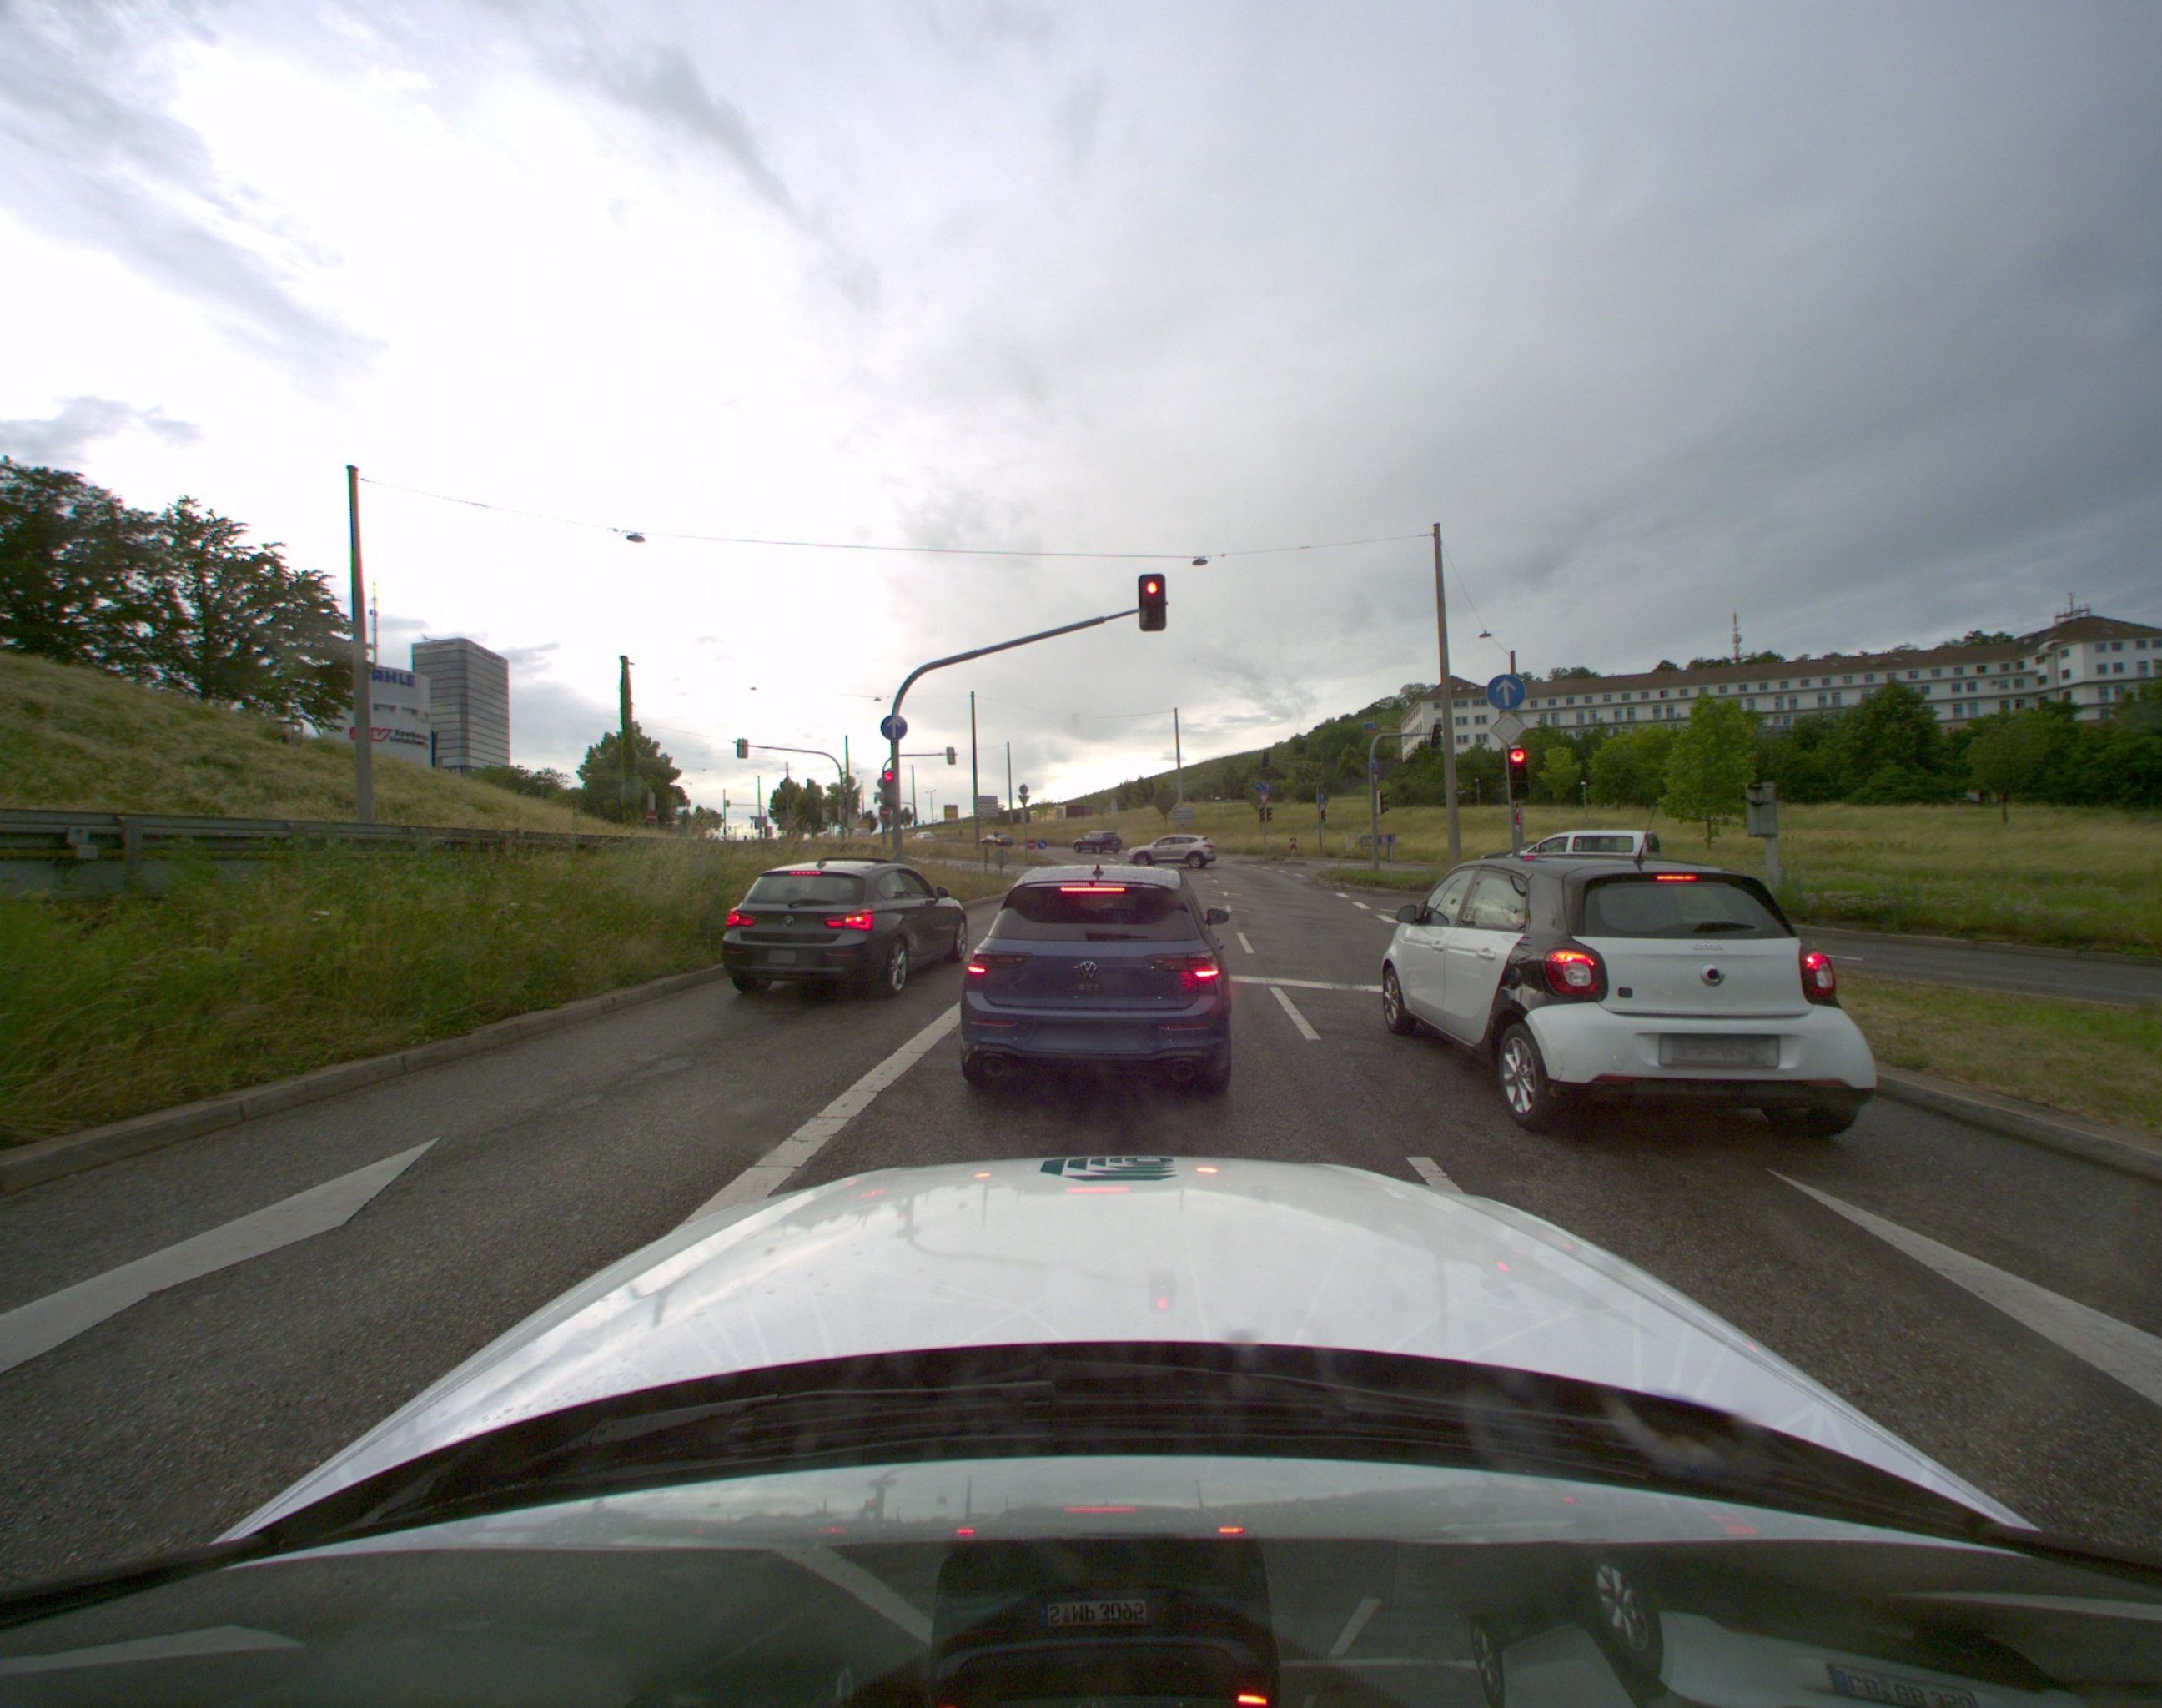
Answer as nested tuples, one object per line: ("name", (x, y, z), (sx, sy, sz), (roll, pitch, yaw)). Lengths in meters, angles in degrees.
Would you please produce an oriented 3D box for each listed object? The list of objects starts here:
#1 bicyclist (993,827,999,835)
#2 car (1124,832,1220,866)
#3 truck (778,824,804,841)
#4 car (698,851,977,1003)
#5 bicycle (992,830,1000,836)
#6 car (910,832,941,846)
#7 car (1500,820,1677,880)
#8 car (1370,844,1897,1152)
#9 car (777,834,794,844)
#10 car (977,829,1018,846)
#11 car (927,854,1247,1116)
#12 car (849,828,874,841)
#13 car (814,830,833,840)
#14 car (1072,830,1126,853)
("bicyclist", (-11.136, -3.035, 107.124), (0.526, 1.046, 0.575), (2, 0, -32))
("car", (4.599, -0.204, 41.067), (4.474, 1.620, 2.009), (-1, -1, 17))
("truck", (-56.973, -4.200, 159.802), (3.281, 3.074, 6.111), (2, 0, -35))
("car", (-2.655, 0.712, 9.992), (1.693, 1.459, 4.123), (-1, 0, 7))
("bicycle", (-11.191, -2.719, 107.183), (0.521, 0.775, 1.605), (2, 0, -31))
("car", (-17.899, -1.704, 93.616), (2.008, 1.477, 4.373), (0, -1, -35))
("car", (16.823, -0.082, 27.215), (1.831, 1.850, 4.643), (0, -1, -39))
("car", (3.343, 0.736, 5.788), (1.649, 1.503, 3.456), (-1, -1, 6))
("car", (-54.797, -2.754, 151.006), (2.008, 1.659, 4.308), (0, -1, -33))
("car", (-7.979, -1.567, 77.423), (2.008, 1.477, 4.455), (0, -1, -33))
("car", (0.256, 0.743, 6.541), (1.815, 1.460, 3.816), (-1, 0, 7))
("car", (-31.689, -2.799, 117.409), (2.144, 1.794, 4.692), (0, -1, -33))
("car", (-43.651, -3.202, 137.947), (2.008, 1.659, 4.497), (0, -1, -33))
("car", (1.348, -0.926, 62.436), (2.008, 1.637, 4.373), (0, -1, -35))
